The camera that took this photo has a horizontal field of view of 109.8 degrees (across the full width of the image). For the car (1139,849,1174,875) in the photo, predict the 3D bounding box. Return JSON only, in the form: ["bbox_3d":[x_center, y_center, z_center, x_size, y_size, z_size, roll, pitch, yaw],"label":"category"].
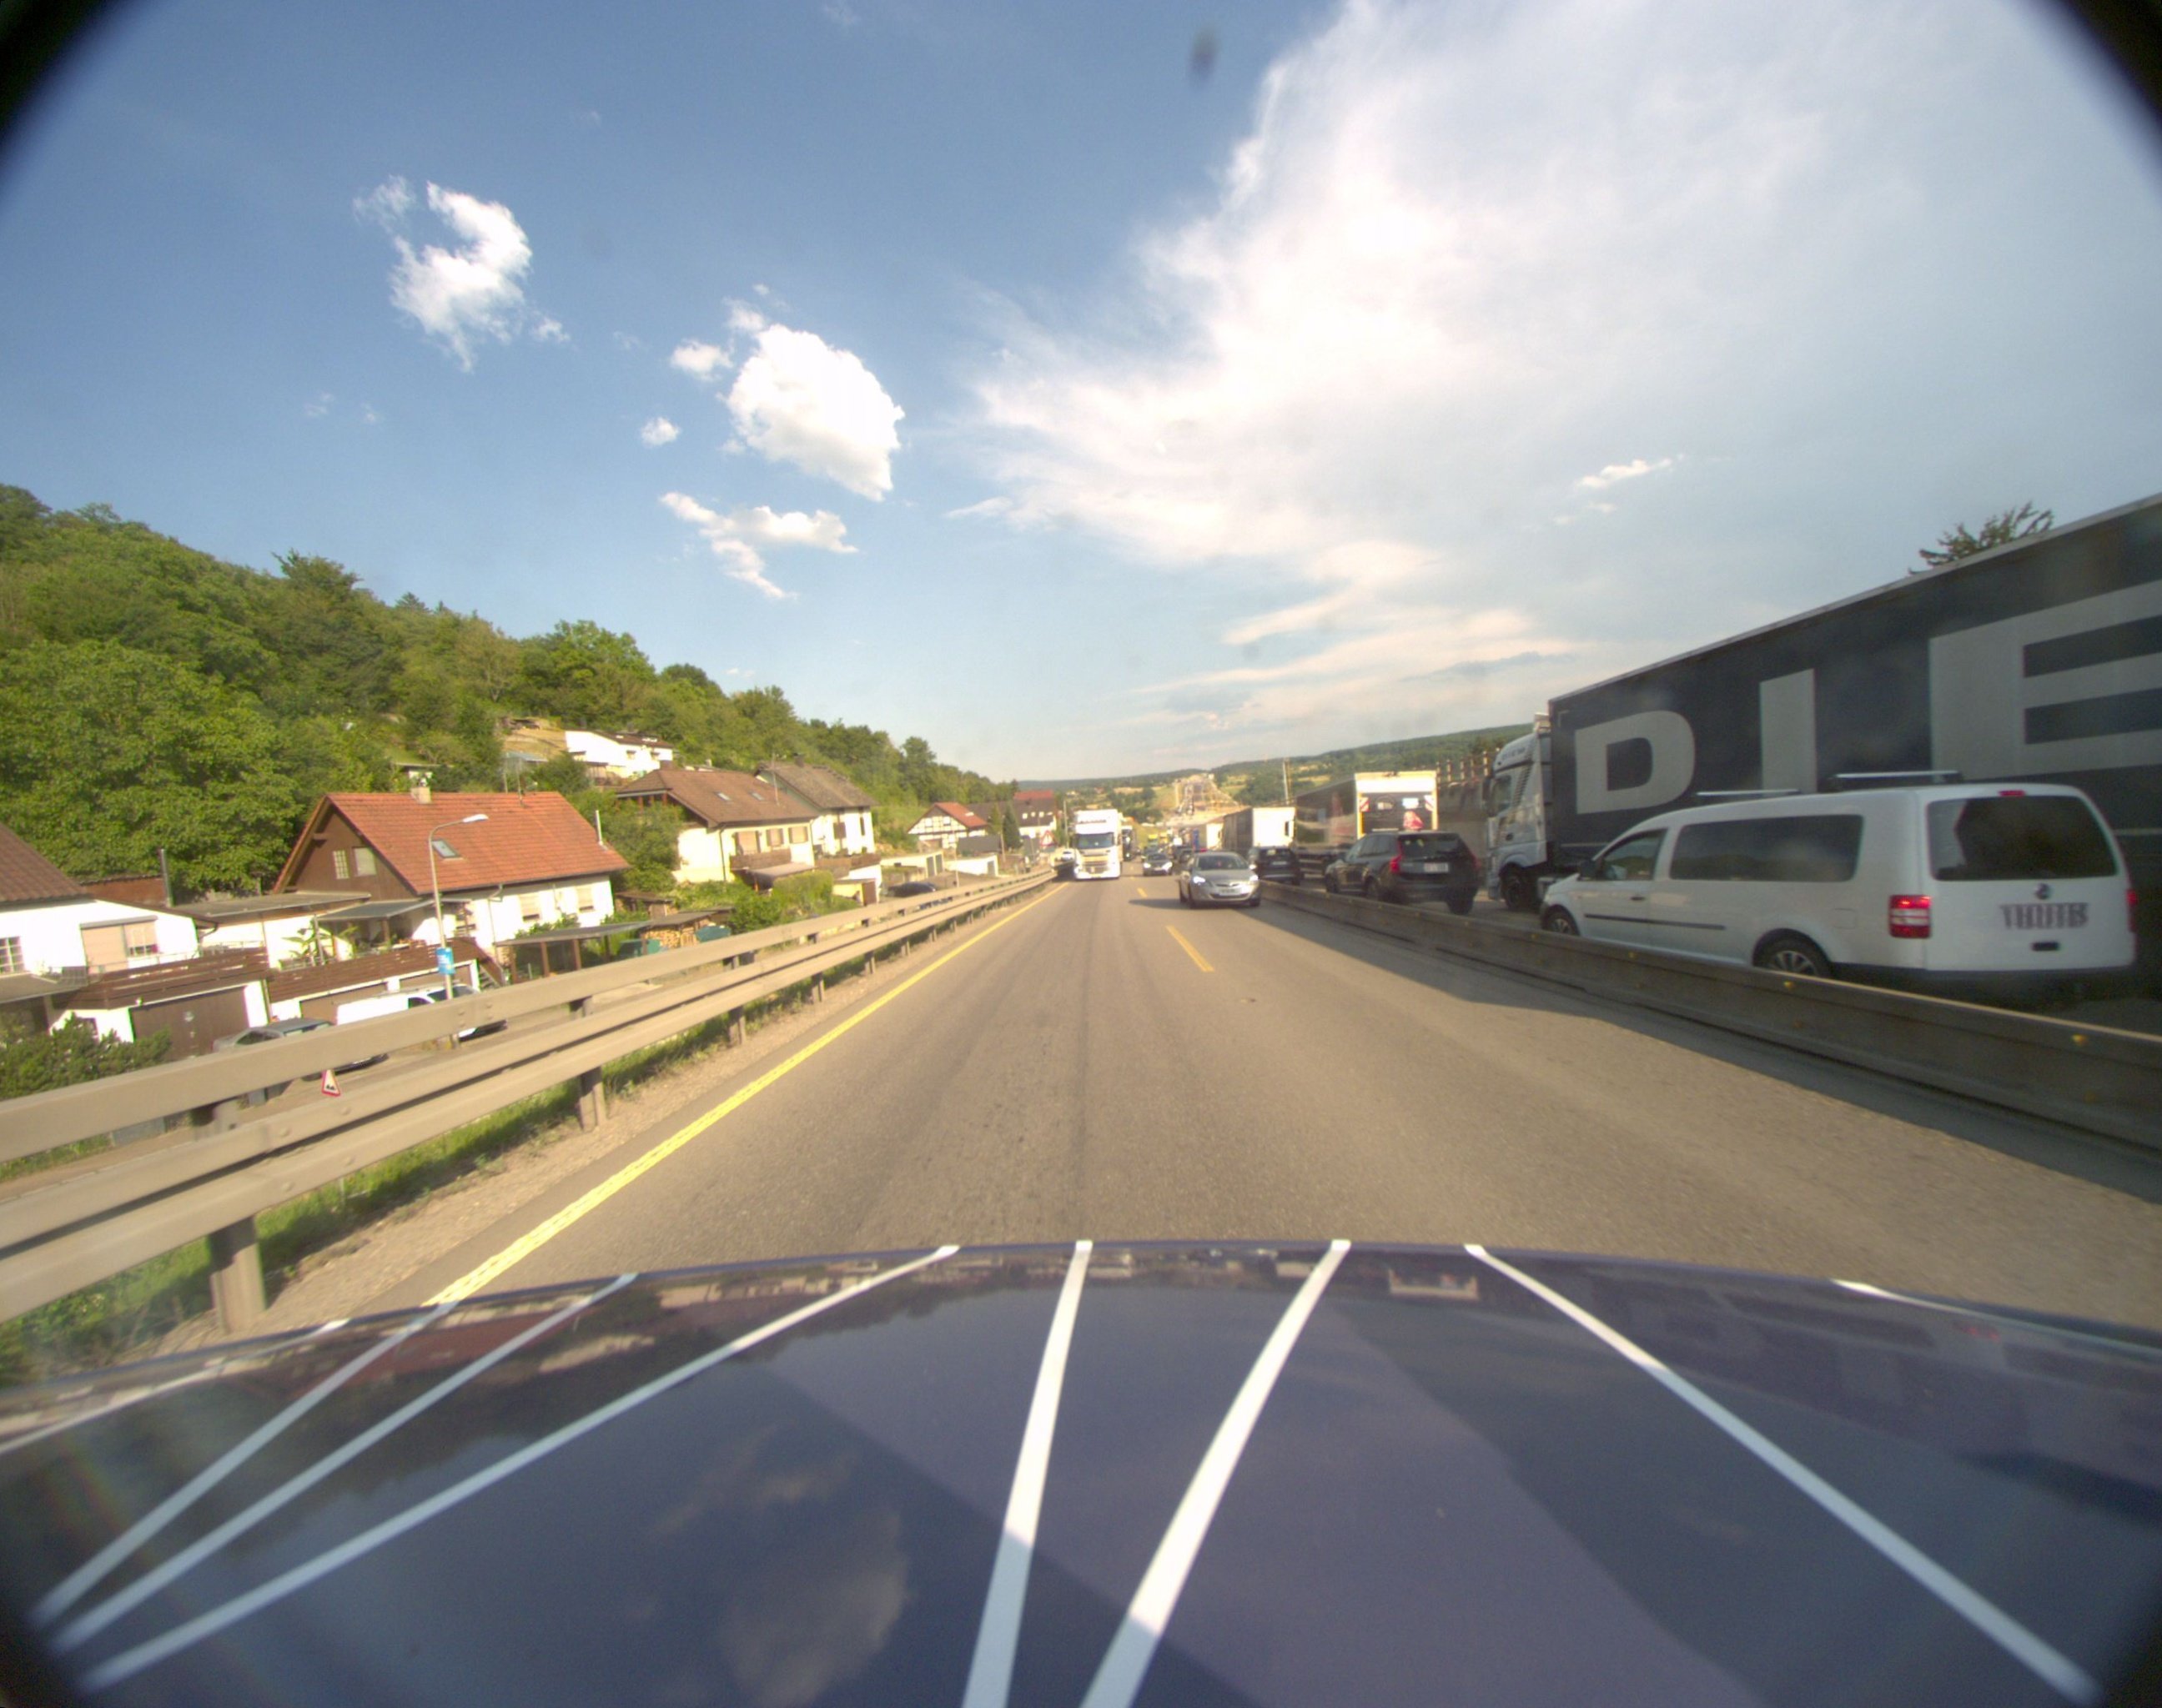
[{"bbox_3d":[4.630,0.462,46.981,1.823,1.433,4.000,-3,0,2],"label":"car"}]

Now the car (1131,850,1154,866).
[{"bbox_3d":[6.542,0.376,81.020,1.999,1.565,3.998,-2,1,-2],"label":"car"}]

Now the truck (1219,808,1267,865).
[{"bbox_3d":[12.602,-1.357,59.572,2.770,4.179,6.115,-2,1,3],"label":"truck"}]

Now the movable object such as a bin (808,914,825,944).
[{"bbox_3d":[-16.263,4.618,46.717,0.490,1.760,0.414,-12,1,14],"label":"movable object such as a bin"}]

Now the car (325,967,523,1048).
[{"bbox_3d":[-22.985,5.354,26.670,5.477,2.251,2.000,-3,3,9],"label":"car"}]

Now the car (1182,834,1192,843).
[{"bbox_3d":[26.551,-3.846,190.268,2.213,2.011,3.974,-5,1,7],"label":"car"}]

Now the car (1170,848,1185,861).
[{"bbox_3d":[14.239,0.018,112.557,1.885,1.598,4.731,-4,1,4],"label":"car"}]

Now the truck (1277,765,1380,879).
[{"bbox_3d":[10.648,-1.328,33.231,2.926,4.489,5.027,-2,1,2],"label":"truck"}]

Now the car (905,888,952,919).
[{"bbox_3d":[-11.275,3.641,56.409,1.771,1.590,3.618,-8,3,15],"label":"car"}]

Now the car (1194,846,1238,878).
[{"bbox_3d":[7.966,0.432,45.258,1.867,1.577,4.745,-5,2,3],"label":"car"}]

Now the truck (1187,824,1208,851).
[{"bbox_3d":[19.203,-2.733,125.749,2.821,4.234,10.583,-1,1,6],"label":"truck"}]

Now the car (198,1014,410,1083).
[{"bbox_3d":[-23.329,5.845,22.882,5.100,1.548,1.716,-3,3,9],"label":"car"}]

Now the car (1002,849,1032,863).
[{"bbox_3d":[-9.095,0.238,108.309,3.994,1.829,1.750,0,3,7],"label":"car"}]

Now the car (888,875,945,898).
[{"bbox_3d":[-14.628,2.903,67.844,4.501,1.517,2.000,4,4,10],"label":"car"}]

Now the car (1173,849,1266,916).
[{"bbox_3d":[3.609,0.672,20.478,1.810,1.478,4.118,-3,1,2],"label":"car"}]

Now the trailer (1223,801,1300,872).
[{"bbox_3d":[12.198,-1.203,52.860,2.782,4.179,13.833,-2,1,3],"label":"trailer"}]

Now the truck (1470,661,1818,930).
[{"bbox_3d":[9.932,-0.920,14.179,2.756,4.091,5.030,-1,1,0],"label":"truck"}]

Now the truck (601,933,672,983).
[{"bbox_3d":[-21.544,4.968,36.783,2.002,1.729,3.990,-12,6,-41],"label":"truck"}]

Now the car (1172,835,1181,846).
[{"bbox_3d":[22.876,-3.217,181.844,2.000,2.601,5.615,-1,1,6],"label":"car"}]

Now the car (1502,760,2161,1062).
[{"bbox_3d":[6.467,0.315,7.439,1.828,1.922,5.129,1,1,0],"label":"car"}]

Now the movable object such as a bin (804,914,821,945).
[{"bbox_3d":[-16.360,4.606,46.298,0.490,1.760,0.414,-12,1,14],"label":"movable object such as a bin"}]

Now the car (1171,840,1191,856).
[{"bbox_3d":[12.273,-0.764,93.347,2.012,1.645,4.974,-4,1,4],"label":"car"}]

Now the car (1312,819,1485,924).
[{"bbox_3d":[6.788,0.266,16.887,1.837,1.952,4.898,-2,2,1],"label":"car"}]

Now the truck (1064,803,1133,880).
[{"bbox_3d":[1.416,-0.841,47.961,2.891,4.059,13.897,-1,1,7],"label":"truck"}]

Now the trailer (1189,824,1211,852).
[{"bbox_3d":[18.215,-2.495,116.388,2.821,4.082,8.288,-1,1,6],"label":"trailer"}]

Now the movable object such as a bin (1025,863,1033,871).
[{"bbox_3d":[-6.473,1.603,94.588,0.723,0.995,0.677,-4,2,6],"label":"movable object such as a bin"}]

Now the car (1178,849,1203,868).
[{"bbox_3d":[10.016,0.349,69.967,1.778,1.448,4.814,-3,2,3],"label":"car"}]

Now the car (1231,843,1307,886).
[{"bbox_3d":[7.559,0.354,31.048,1.881,1.596,5.368,0,1,1],"label":"car"}]

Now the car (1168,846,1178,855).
[{"bbox_3d":[16.329,-0.601,134.620,1.702,1.567,4.370,-1,1,6],"label":"car"}]

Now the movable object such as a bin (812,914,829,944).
[{"bbox_3d":[-16.151,4.654,47.138,0.490,1.760,0.414,-12,1,14],"label":"movable object such as a bin"}]

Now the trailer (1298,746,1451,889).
[{"bbox_3d":[10.398,-1.212,27.807,2.918,4.440,7.152,-3,1,2],"label":"trailer"}]

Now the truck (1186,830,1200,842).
[{"bbox_3d":[29.741,-4.802,202.391,3.241,3.128,6.491,-2,1,5],"label":"truck"}]

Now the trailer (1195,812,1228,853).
[{"bbox_3d":[14.791,-2.440,87.170,2.461,4.295,13.777,-2,1,5],"label":"trailer"}]

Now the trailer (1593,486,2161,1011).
[{"bbox_3d":[9.817,-0.842,6.411,2.721,4.099,12.490,-1,1,1],"label":"trailer"}]

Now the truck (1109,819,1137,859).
[{"bbox_3d":[5.110,-1.732,91.334,2.787,4.505,7.192,-4,0,5],"label":"truck"}]

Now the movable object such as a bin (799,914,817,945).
[{"bbox_3d":[-16.488,4.549,45.884,0.536,1.760,0.409,-12,1,14],"label":"movable object such as a bin"}]

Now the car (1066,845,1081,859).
[{"bbox_3d":[-1.172,-0.328,118.269,1.823,1.931,4.284,-3,3,5],"label":"car"}]

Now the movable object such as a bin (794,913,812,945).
[{"bbox_3d":[-16.620,4.493,45.467,0.530,1.760,0.416,-12,1,14],"label":"movable object such as a bin"}]

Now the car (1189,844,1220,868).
[{"bbox_3d":[9.381,0.110,57.894,1.771,1.542,4.478,-3,2,3],"label":"car"}]
